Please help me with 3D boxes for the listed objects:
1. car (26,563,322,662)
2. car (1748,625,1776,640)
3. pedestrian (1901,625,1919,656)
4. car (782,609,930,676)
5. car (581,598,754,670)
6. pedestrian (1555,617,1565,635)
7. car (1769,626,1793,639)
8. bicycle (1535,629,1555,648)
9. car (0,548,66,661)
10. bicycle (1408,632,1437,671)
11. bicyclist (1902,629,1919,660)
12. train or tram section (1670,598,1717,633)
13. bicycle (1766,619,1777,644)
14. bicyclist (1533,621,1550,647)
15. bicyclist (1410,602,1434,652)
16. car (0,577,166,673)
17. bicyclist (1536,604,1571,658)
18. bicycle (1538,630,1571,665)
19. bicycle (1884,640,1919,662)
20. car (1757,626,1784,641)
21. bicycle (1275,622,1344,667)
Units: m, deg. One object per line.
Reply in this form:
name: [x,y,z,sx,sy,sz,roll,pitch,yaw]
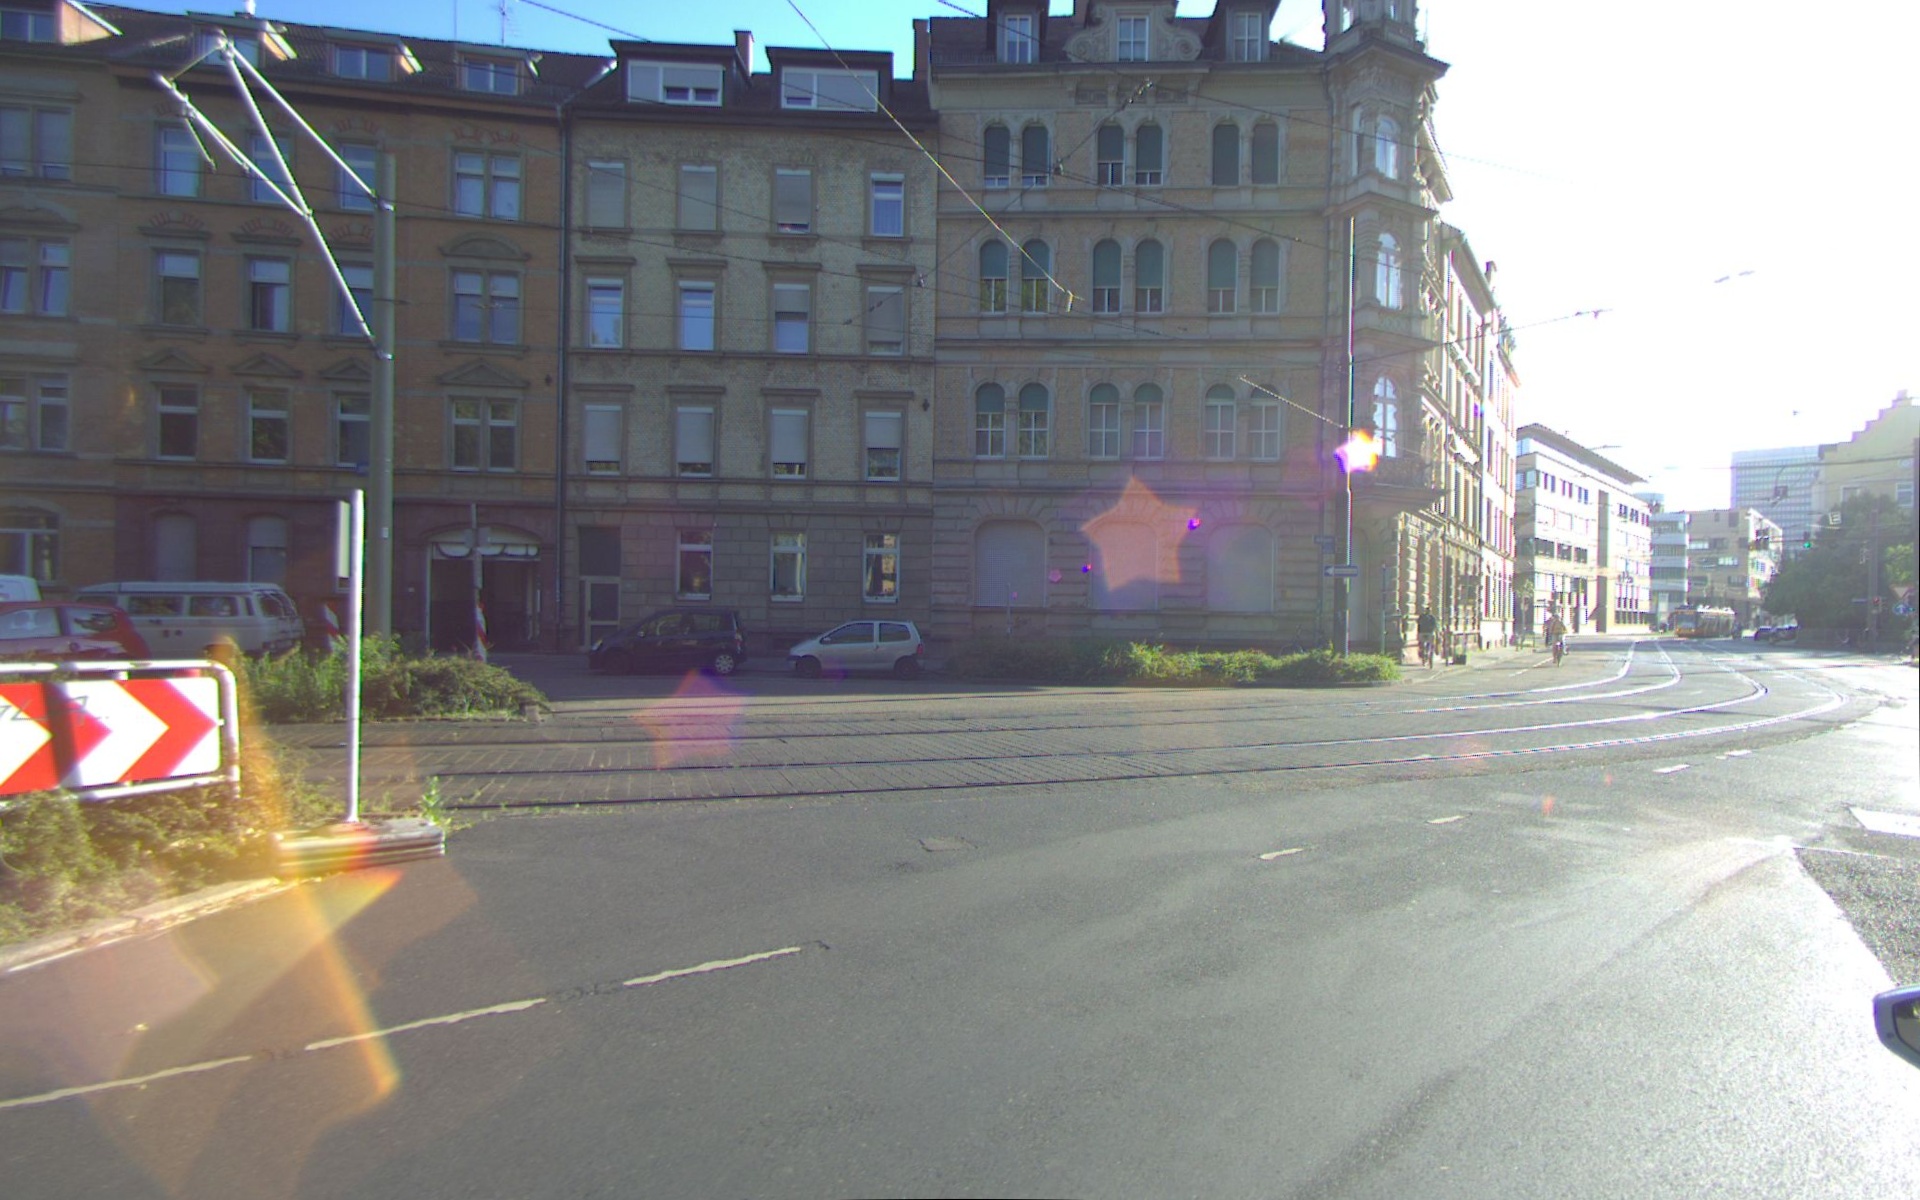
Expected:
car: [-17.542,0.251,22.677,4.911,2.091,1.853,0,2,-11]
car: [80.561,3.281,100.876,1.972,1.483,3.977,0,-1,43]
pedestrian: [53.739,2.287,56.699,0.916,1.714,0.773,1,-1,43]
car: [-2.453,0.994,24.347,3.427,1.448,1.856,1,2,-3]
car: [-6.942,0.779,24.219,3.803,1.584,1.853,0,2,-11]
pedestrian: [64.801,2.803,108.452,0.731,1.866,0.798,2,-1,-45]
car: [97.699,3.873,119.482,1.972,1.506,3.977,0,-1,43]
bicycle: [35.163,2.304,60.364,0.933,1.112,1.993,1,-1,34]
car: [-16.494,0.027,14.505,2.043,1.788,5.062,1,-1,13]
bicycle: [14.346,1.576,31.136,0.494,1.148,2.120,1,-1,33]
bicyclist: [45.224,2.097,47.609,0.794,1.432,0.621,1,-1,40]
train or tram section: [80.997,1.739,110.810,2.218,3.622,14.189,0,-1,44]
bicycle: [60.563,2.341,74.983,0.558,1.830,1.353,1,-1,37]
bicyclist: [35.038,2.047,60.541,0.831,1.534,0.799,1,-1,34]
bicyclist: [14.339,0.826,31.155,0.583,1.511,0.700,1,-1,32]
car: [-14.140,0.344,14.725,1.682,1.347,3.635,1,-1,14]
bicyclist: [21.648,1.136,36.627,1.015,1.916,1.109,1,-1,34]
bicycle: [21.622,1.706,36.535,0.870,1.171,2.317,1,-1,34]
bicycle: [45.086,2.440,47.661,1.811,0.997,0.731,1,-1,41]
car: [87.439,3.632,108.360,1.972,1.506,3.977,0,-1,43]
bicycle: [10.005,1.269,28.806,1.756,1.222,0.503,1,2,0]
